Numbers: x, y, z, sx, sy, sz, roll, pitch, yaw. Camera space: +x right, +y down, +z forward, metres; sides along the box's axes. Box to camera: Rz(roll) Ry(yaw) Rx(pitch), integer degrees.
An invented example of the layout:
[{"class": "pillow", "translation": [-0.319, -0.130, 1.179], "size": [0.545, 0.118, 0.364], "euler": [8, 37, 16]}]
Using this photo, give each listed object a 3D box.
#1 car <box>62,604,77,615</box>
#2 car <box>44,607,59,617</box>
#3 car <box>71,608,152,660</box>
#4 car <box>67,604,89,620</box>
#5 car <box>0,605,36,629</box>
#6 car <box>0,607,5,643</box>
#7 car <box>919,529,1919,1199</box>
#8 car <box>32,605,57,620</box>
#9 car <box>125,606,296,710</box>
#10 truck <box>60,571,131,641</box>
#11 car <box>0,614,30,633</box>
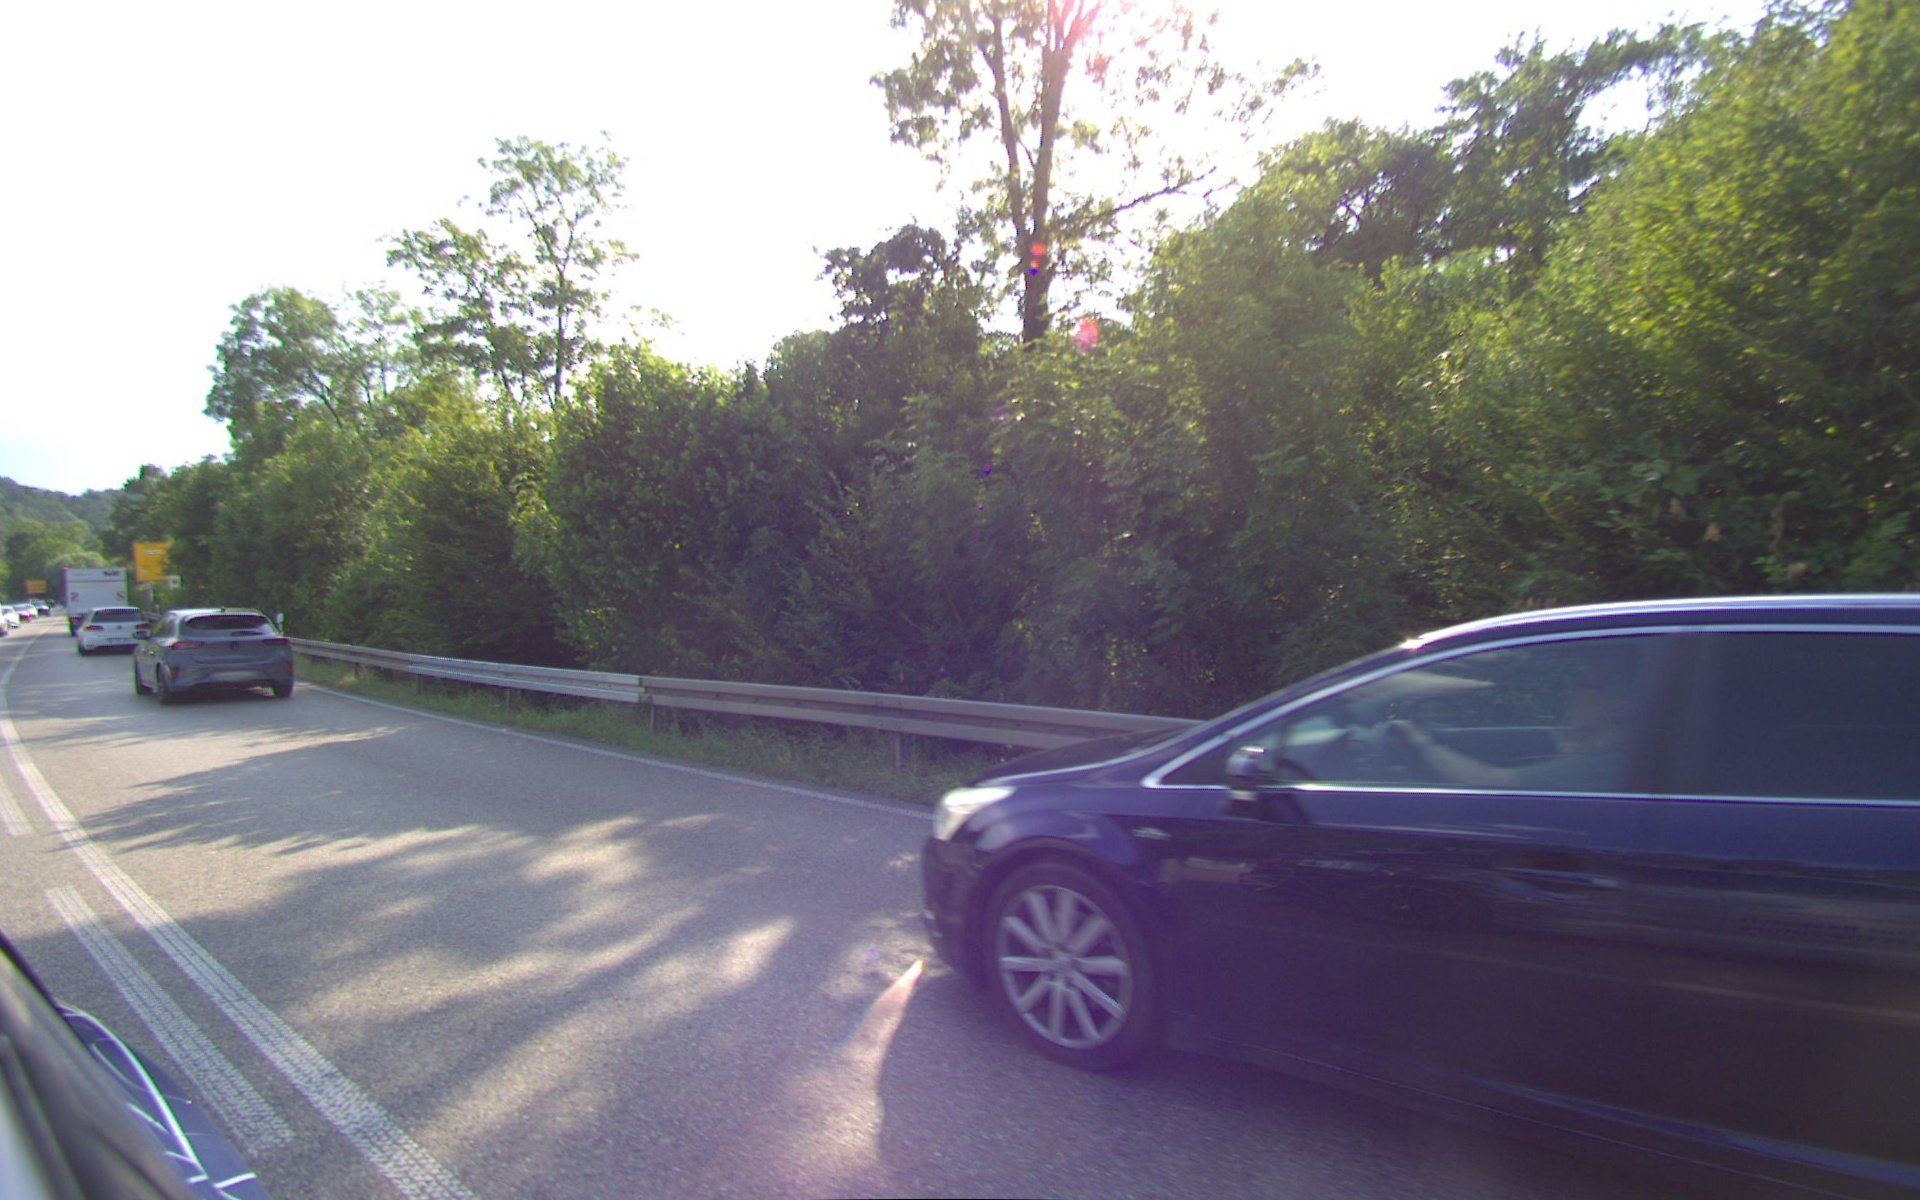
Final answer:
[{"class": "car", "translation": [-146.322, 1.597, 166.302], "size": [1.770, 1.644, 4.263], "euler": [-4, 2, -42]}, {"class": "car", "translation": [-160.711, 2.075, 179.024], "size": [1.770, 1.644, 4.263], "euler": [-4, 2, -42]}, {"class": "car", "translation": [-26.230, 1.007, 31.256], "size": [1.770, 1.456, 3.798], "euler": [-1, 0, -42]}, {"class": "car", "translation": [-98.263, 1.353, 112.724], "size": [1.770, 1.644, 4.263], "euler": [-1, 0, -42]}, {"class": "car", "translation": [-61.996, 1.101, 66.242], "size": [1.868, 1.456, 4.484], "euler": [-1, 0, -39]}, {"class": "car", "translation": [-47.604, 1.236, 48.992], "size": [1.841, 1.733, 4.769], "euler": [-4, 2, -42]}, {"class": "car", "translation": [2.132, 0.635, 2.741], "size": [4.399, 1.519, 1.832], "euler": [-1, -1, 40]}, {"class": "car", "translation": [-98.367, 1.329, 108.771], "size": [1.869, 1.456, 4.482], "euler": [-1, 0, -41]}, {"class": "car", "translation": [-12.271, 0.860, 16.480], "size": [3.923, 1.456, 1.642], "euler": [-1, 0, 45]}, {"class": "truck", "translation": [-41.070, 0.263, 48.217], "size": [2.425, 3.096, 6.275], "euler": [-1, 0, -40]}, {"class": "car", "translation": [-78.771, 1.937, 84.191], "size": [1.832, 1.431, 4.426], "euler": [-3, 2, -40]}]
